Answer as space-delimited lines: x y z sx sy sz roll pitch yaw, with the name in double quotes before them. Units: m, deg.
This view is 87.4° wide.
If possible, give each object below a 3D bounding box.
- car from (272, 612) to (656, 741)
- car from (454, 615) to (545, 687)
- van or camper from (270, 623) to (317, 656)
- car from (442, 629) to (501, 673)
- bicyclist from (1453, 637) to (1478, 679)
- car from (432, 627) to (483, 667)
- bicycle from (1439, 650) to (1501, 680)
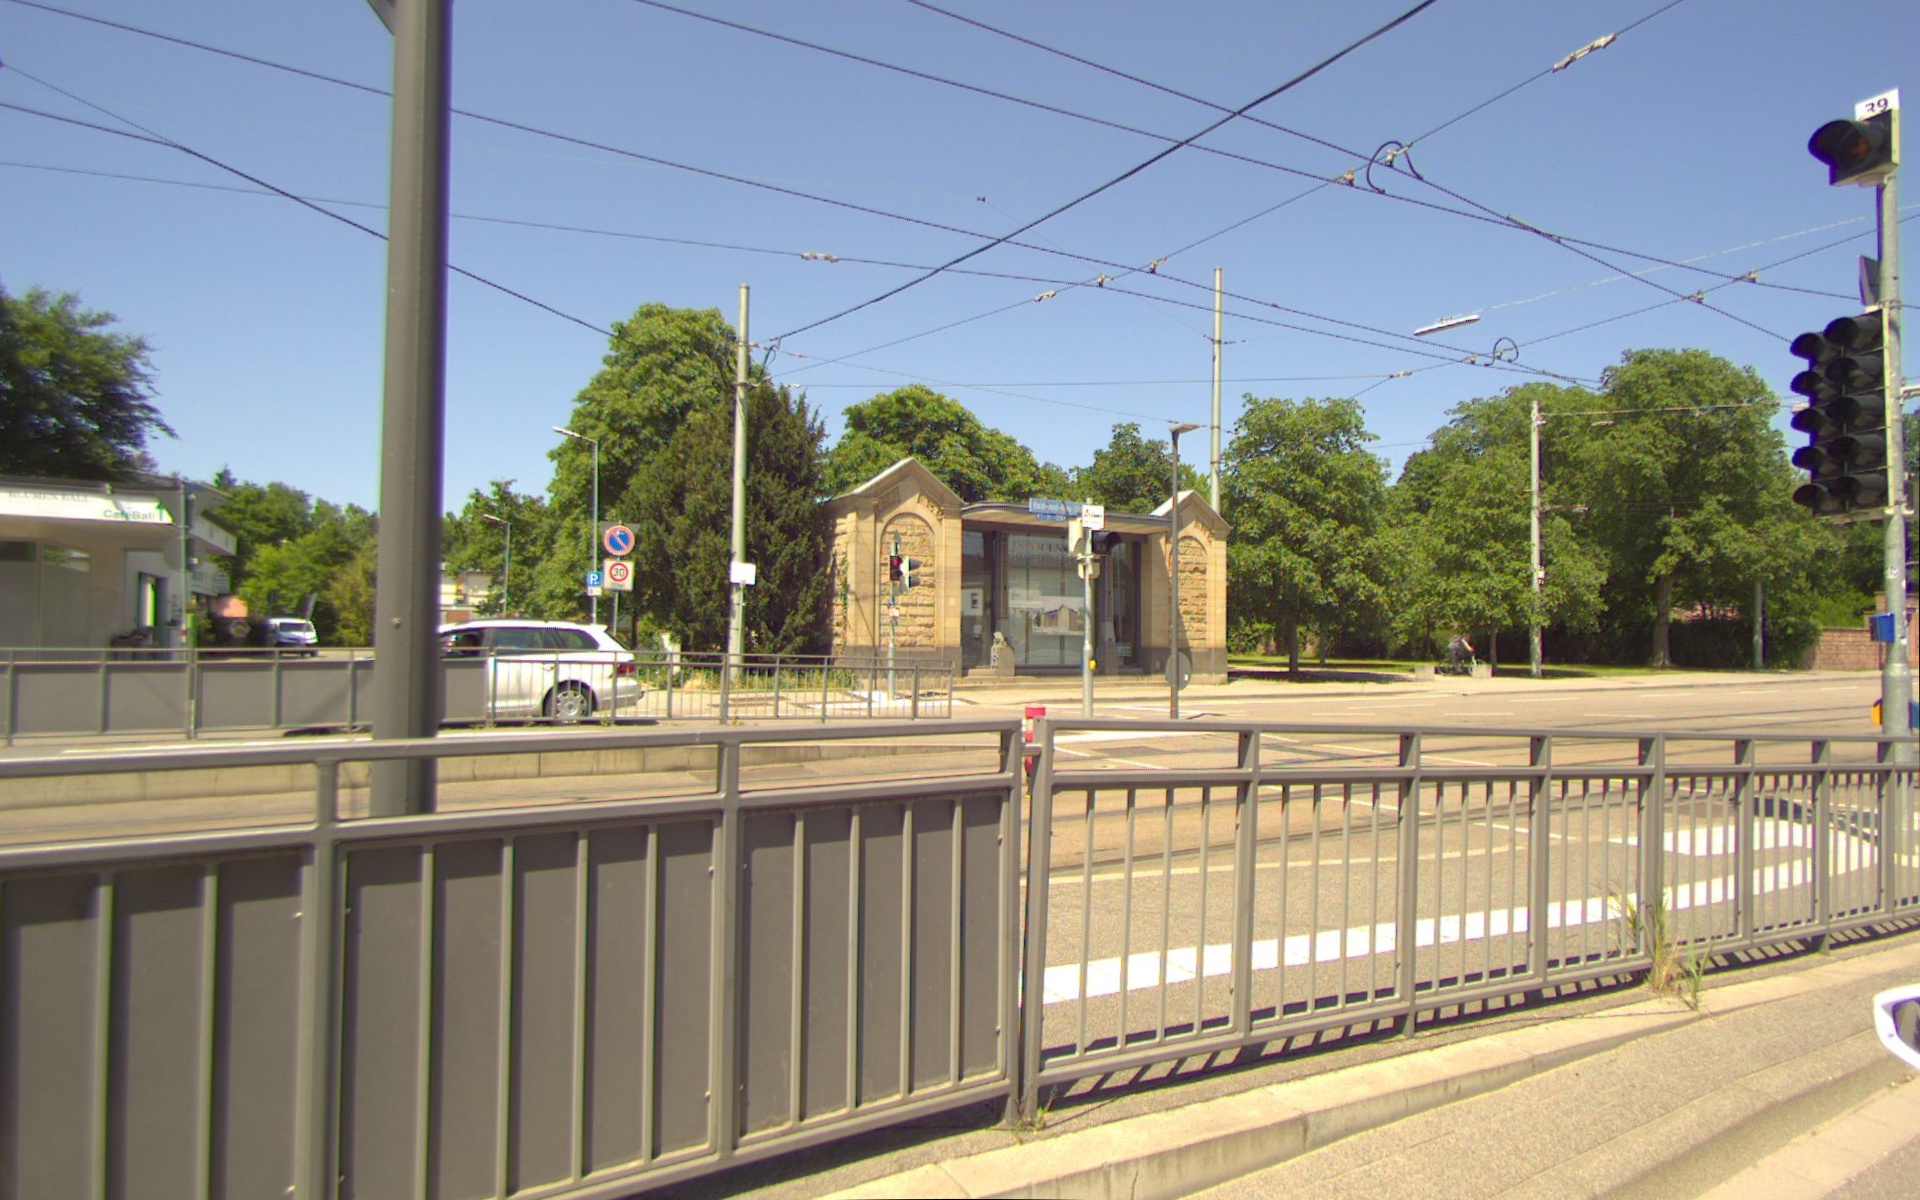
"car" -6.671 0.988 13.798 4.450 1.509 1.808 2 -2 -32
"car" -10.995 1.155 24.121 1.798 1.472 3.935 1 0 -24
"van or camper" -32.813 1.925 49.390 1.676 1.587 3.786 2 -2 -37
"car" -16.347 1.706 33.545 1.624 1.388 3.786 2 -3 -28
"bicyclist" 18.960 2.157 37.688 0.829 1.551 0.853 0 -2 25
"car" -19.433 1.809 38.774 1.624 1.465 3.785 2 -3 -28
"bicycle" 19.083 2.412 37.639 2.063 1.054 0.717 0 -2 25
